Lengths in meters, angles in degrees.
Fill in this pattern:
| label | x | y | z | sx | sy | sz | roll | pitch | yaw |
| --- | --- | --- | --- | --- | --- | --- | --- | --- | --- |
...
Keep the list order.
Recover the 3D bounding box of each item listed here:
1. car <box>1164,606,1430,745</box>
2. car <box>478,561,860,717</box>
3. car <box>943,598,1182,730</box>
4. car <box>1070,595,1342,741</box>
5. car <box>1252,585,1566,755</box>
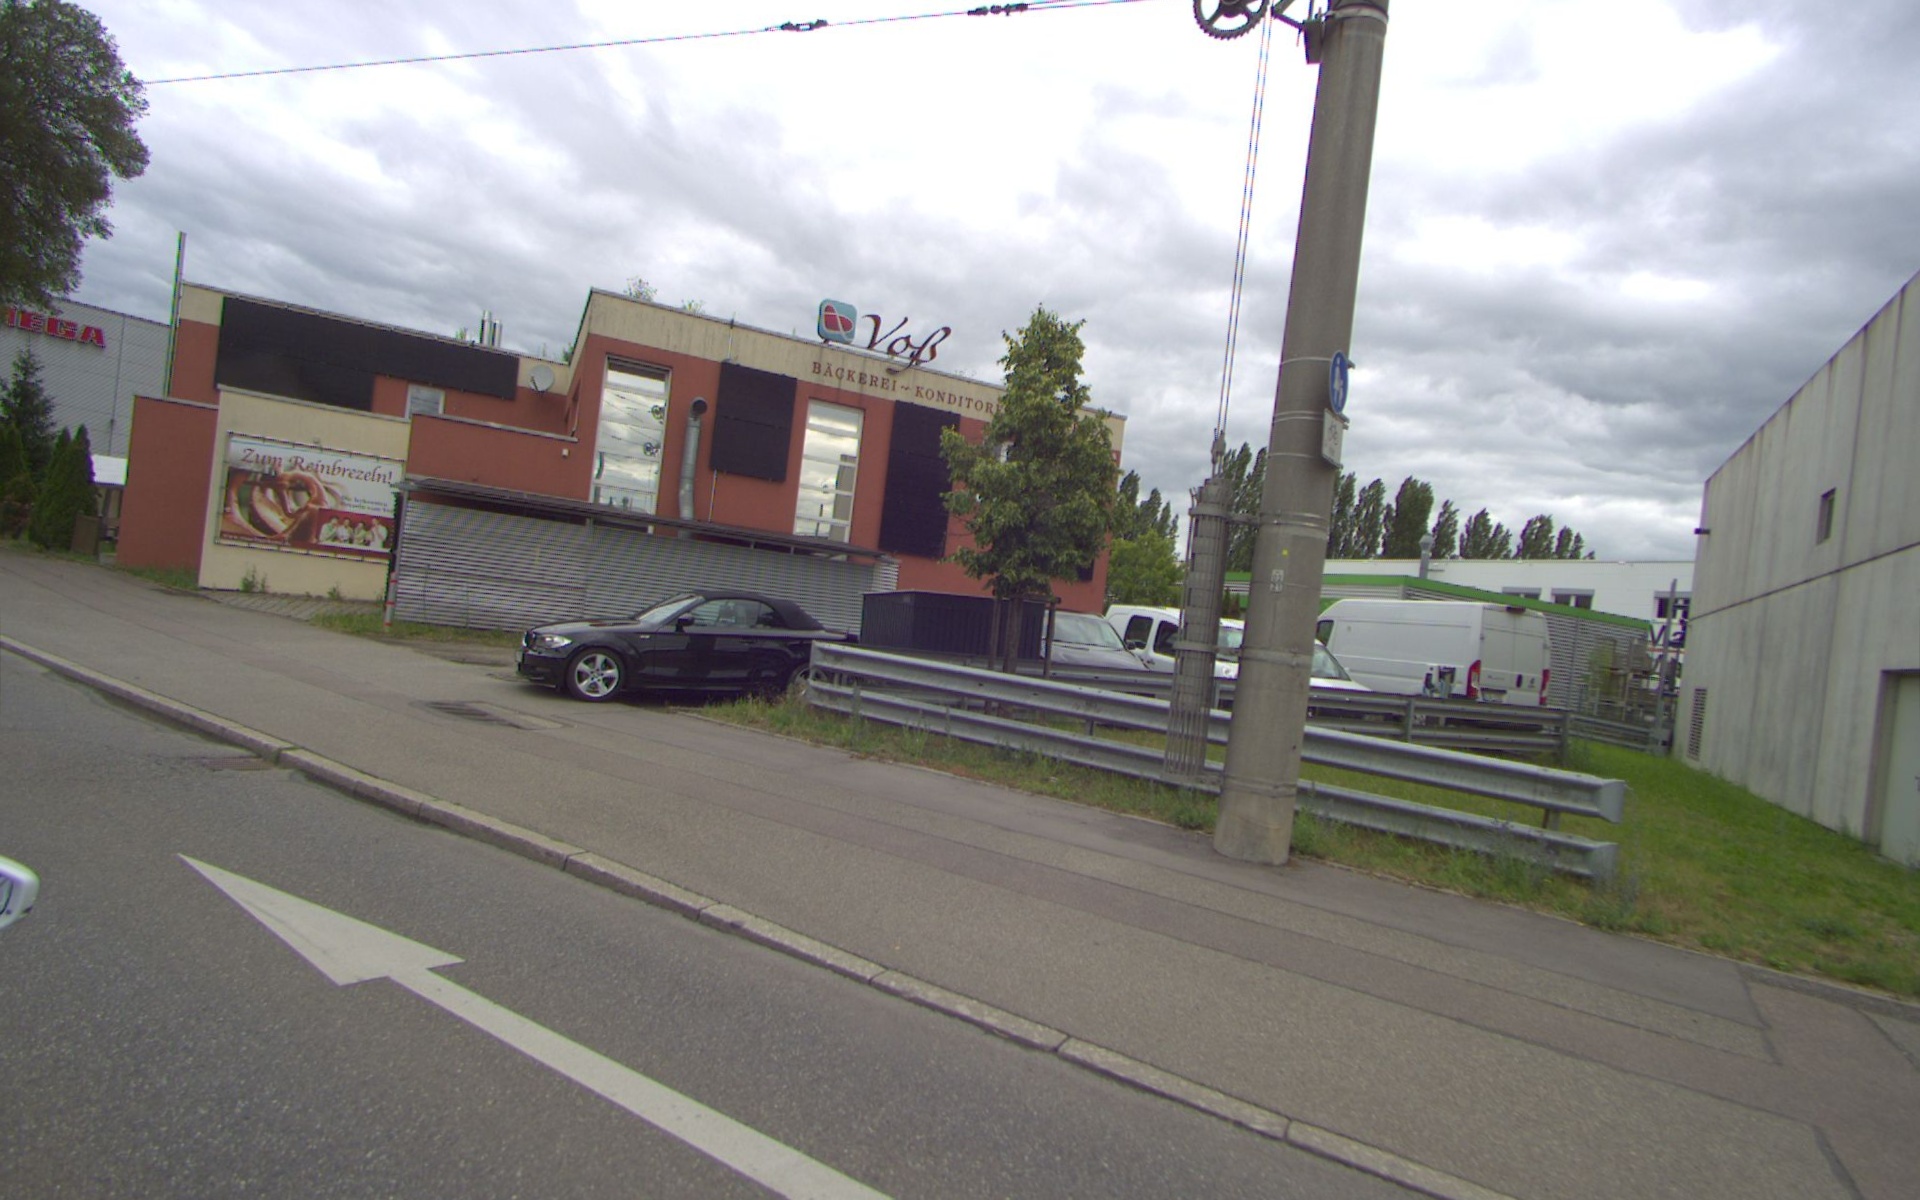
| label | x | y | z | sx | sy | sz | roll | pitch | yaw |
| --- | --- | --- | --- | --- | --- | --- | --- | --- | --- |
| car | 5.835 | 1.245 | 18.065 | 1.796 | 1.854 | 4.413 | 7 | 0 | -26 |
| car | -3.575 | 0.515 | 12.575 | 4.189 | 1.461 | 1.748 | 7 | 0 | -32 |
| car | 1.408 | 0.900 | 15.994 | 2.128 | 1.567 | 4.505 | 6 | 0 | -16 |
| car | 3.939 | 1.032 | 17.005 | 1.838 | 1.854 | 4.512 | 7 | 0 | -26 |
| car | 8.528 | 1.208 | 19.816 | 2.070 | 2.621 | 5.391 | 7 | 0 | -25 |
